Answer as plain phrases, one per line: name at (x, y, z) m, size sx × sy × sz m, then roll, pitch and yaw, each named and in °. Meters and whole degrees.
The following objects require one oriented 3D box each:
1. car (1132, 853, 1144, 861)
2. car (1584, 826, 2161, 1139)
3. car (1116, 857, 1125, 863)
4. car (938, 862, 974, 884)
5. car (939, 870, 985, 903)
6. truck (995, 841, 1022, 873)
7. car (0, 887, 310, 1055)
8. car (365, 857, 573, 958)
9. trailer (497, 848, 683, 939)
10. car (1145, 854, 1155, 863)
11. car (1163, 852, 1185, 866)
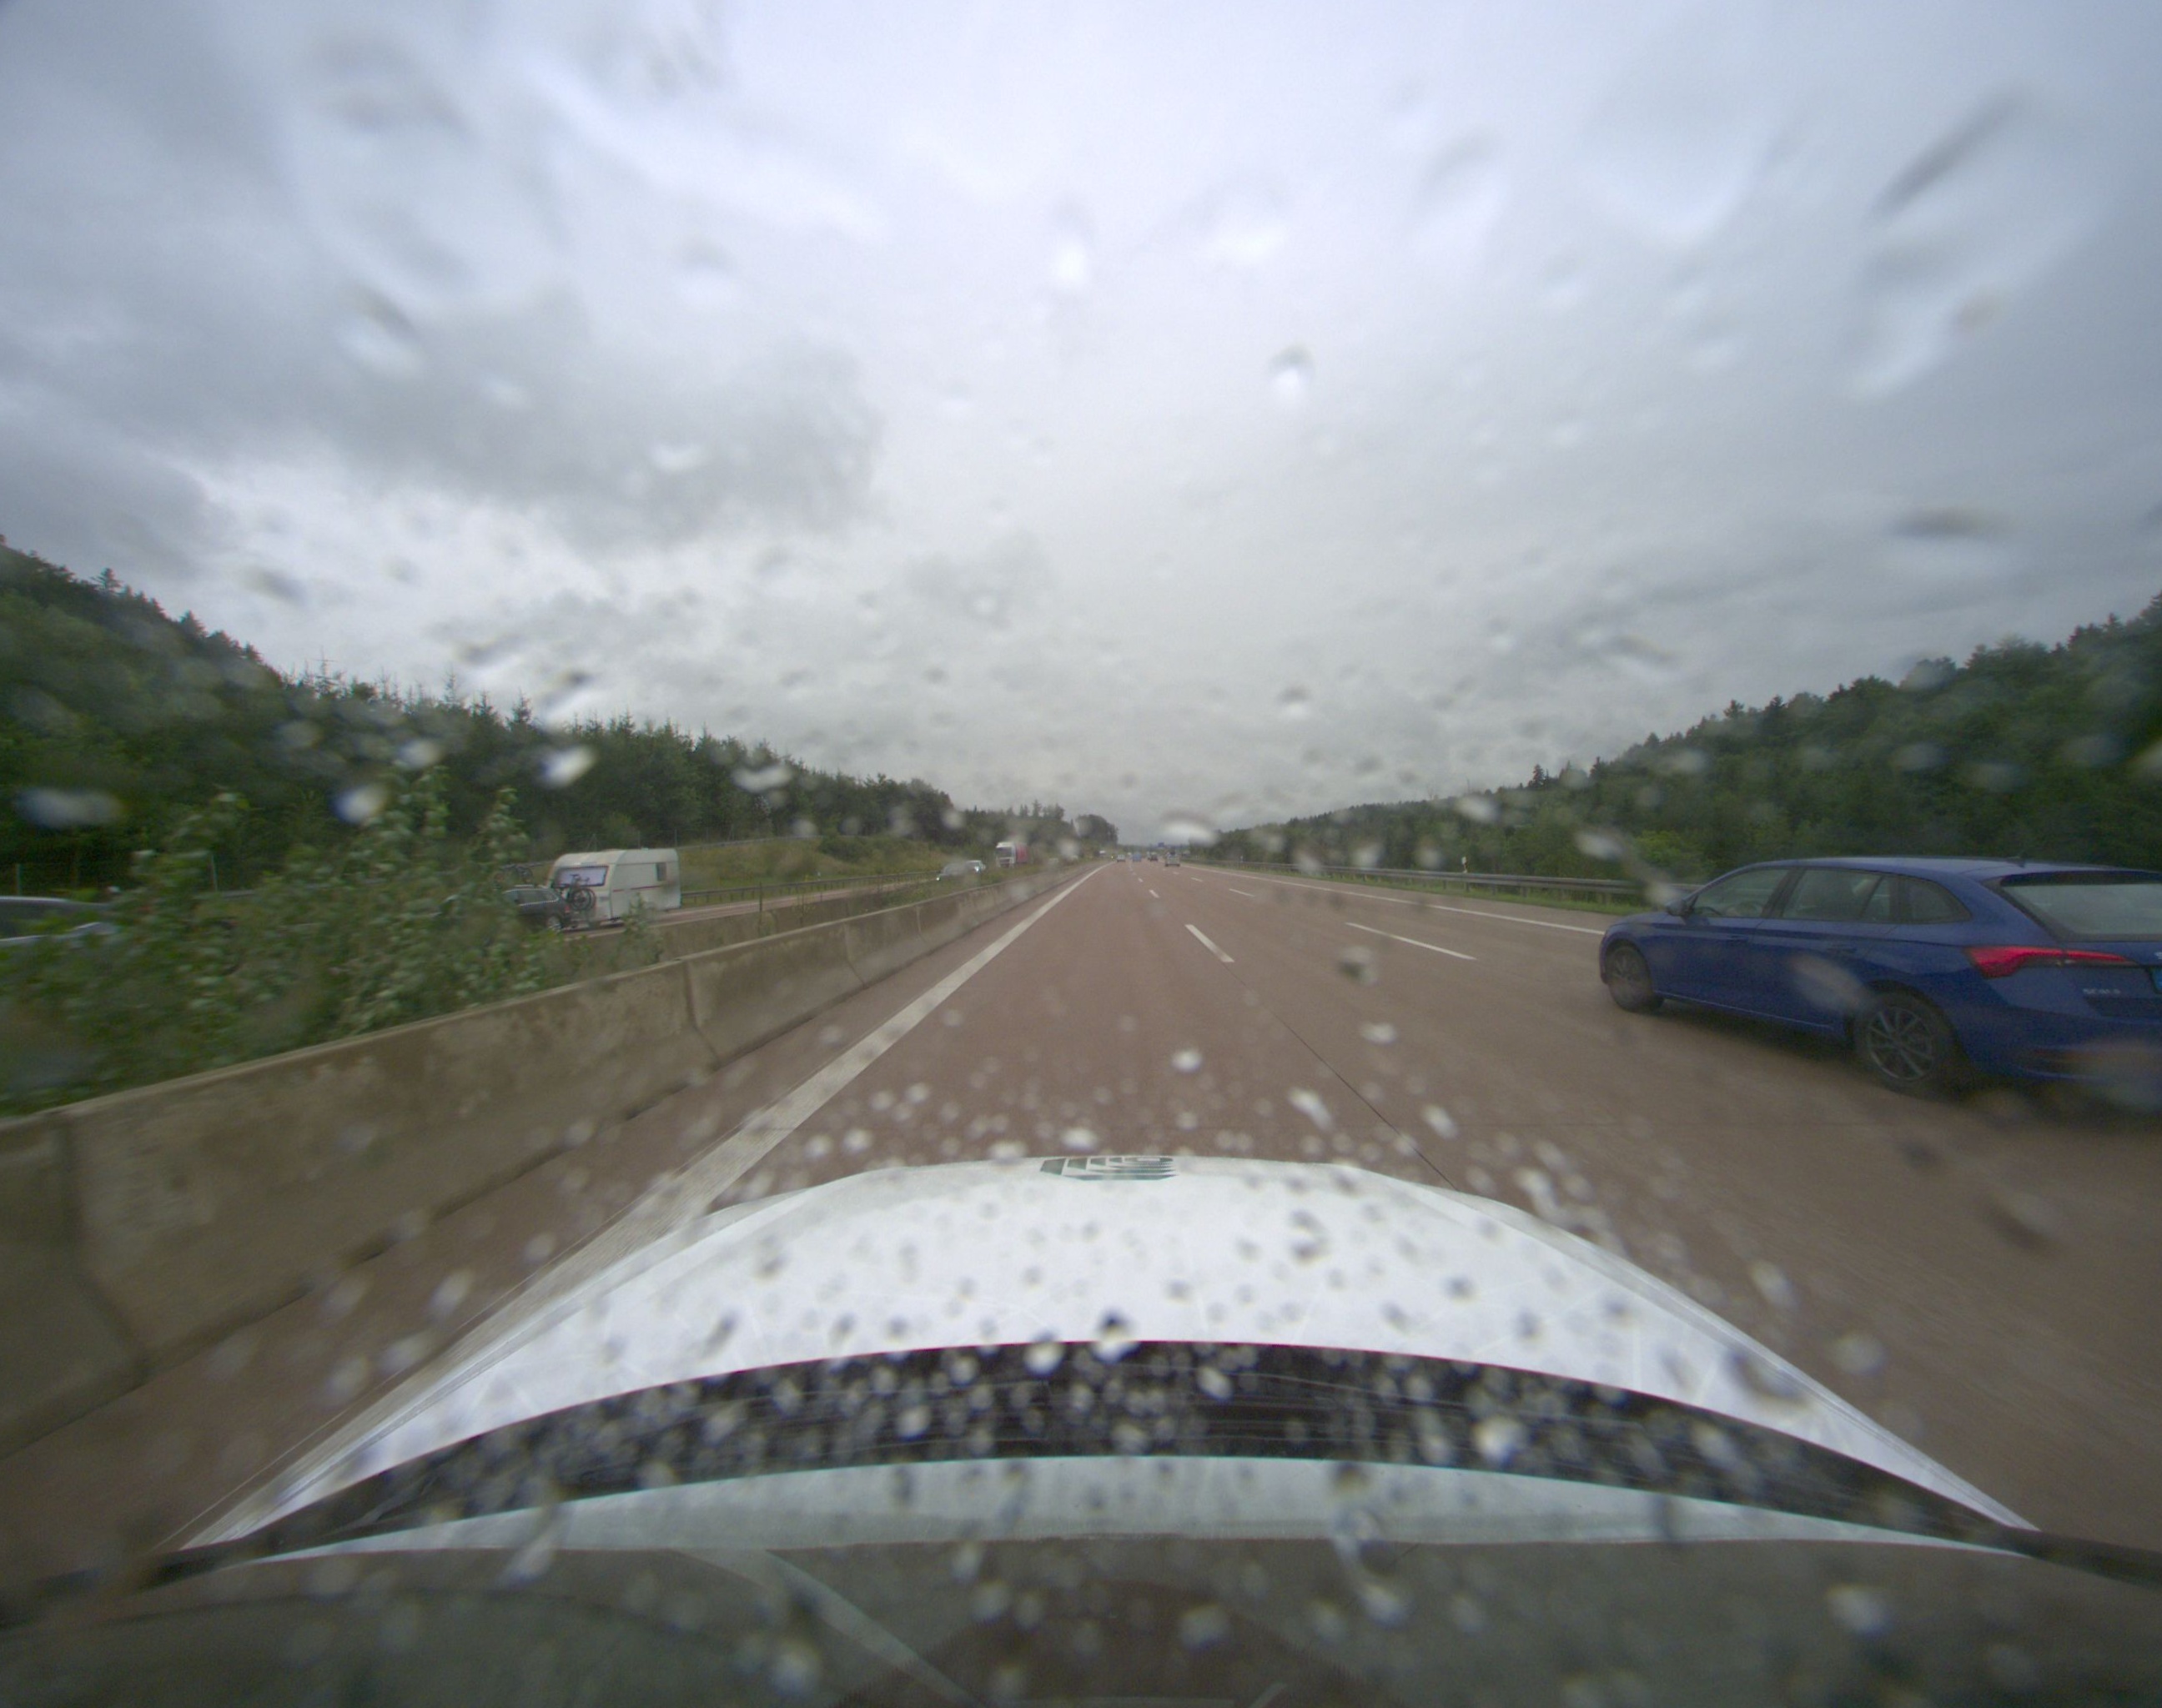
car at (12.642, 0.677, 182.138) m, size 2.315 × 1.750 × 4.875 m, roll 0°, pitch -1°, yaw 0°
car at (5.909, 0.680, 6.151) m, size 1.764 × 1.564 × 4.148 m, roll 0°, pitch -1°, yaw 2°
car at (8.625, 1.325, 178.563) m, size 1.867 × 1.444 × 4.879 m, roll 0°, pitch -1°, yaw 2°
car at (-10.056, 1.518, 65.825) m, size 1.857 × 1.666 × 4.712 m, roll 0°, pitch -1°, yaw 3°
car at (-6.332, 1.696, 43.704) m, size 1.663 × 1.666 × 4.478 m, roll 0°, pitch -1°, yaw 2°
truck at (-10.195, 0.488, 114.929) m, size 2.938 × 4.478 × 6.795 m, roll 0°, pitch -1°, yaw 2°
car at (-11.639, 1.271, 8.438) m, size 1.685 × 1.557 × 5.679 m, roll -3°, pitch 0°, yaw 2°
car at (-15.213, 1.221, 20.610) m, size 1.752 × 2.153 × 4.429 m, roll -3°, pitch 0°, yaw 1°
trailer at (-15.146, 1.100, 25.628) m, size 2.268 × 2.411 × 5.440 m, roll -4°, pitch 0°, yaw 2°
car at (16.350, 1.098, 191.982) m, size 1.987 × 2.014 × 3.998 m, roll 0°, pitch -1°, yaw 0°
car at (12.215, 0.725, 107.079) m, size 2.315 × 1.750 × 4.875 m, roll 0°, pitch -1°, yaw 0°
